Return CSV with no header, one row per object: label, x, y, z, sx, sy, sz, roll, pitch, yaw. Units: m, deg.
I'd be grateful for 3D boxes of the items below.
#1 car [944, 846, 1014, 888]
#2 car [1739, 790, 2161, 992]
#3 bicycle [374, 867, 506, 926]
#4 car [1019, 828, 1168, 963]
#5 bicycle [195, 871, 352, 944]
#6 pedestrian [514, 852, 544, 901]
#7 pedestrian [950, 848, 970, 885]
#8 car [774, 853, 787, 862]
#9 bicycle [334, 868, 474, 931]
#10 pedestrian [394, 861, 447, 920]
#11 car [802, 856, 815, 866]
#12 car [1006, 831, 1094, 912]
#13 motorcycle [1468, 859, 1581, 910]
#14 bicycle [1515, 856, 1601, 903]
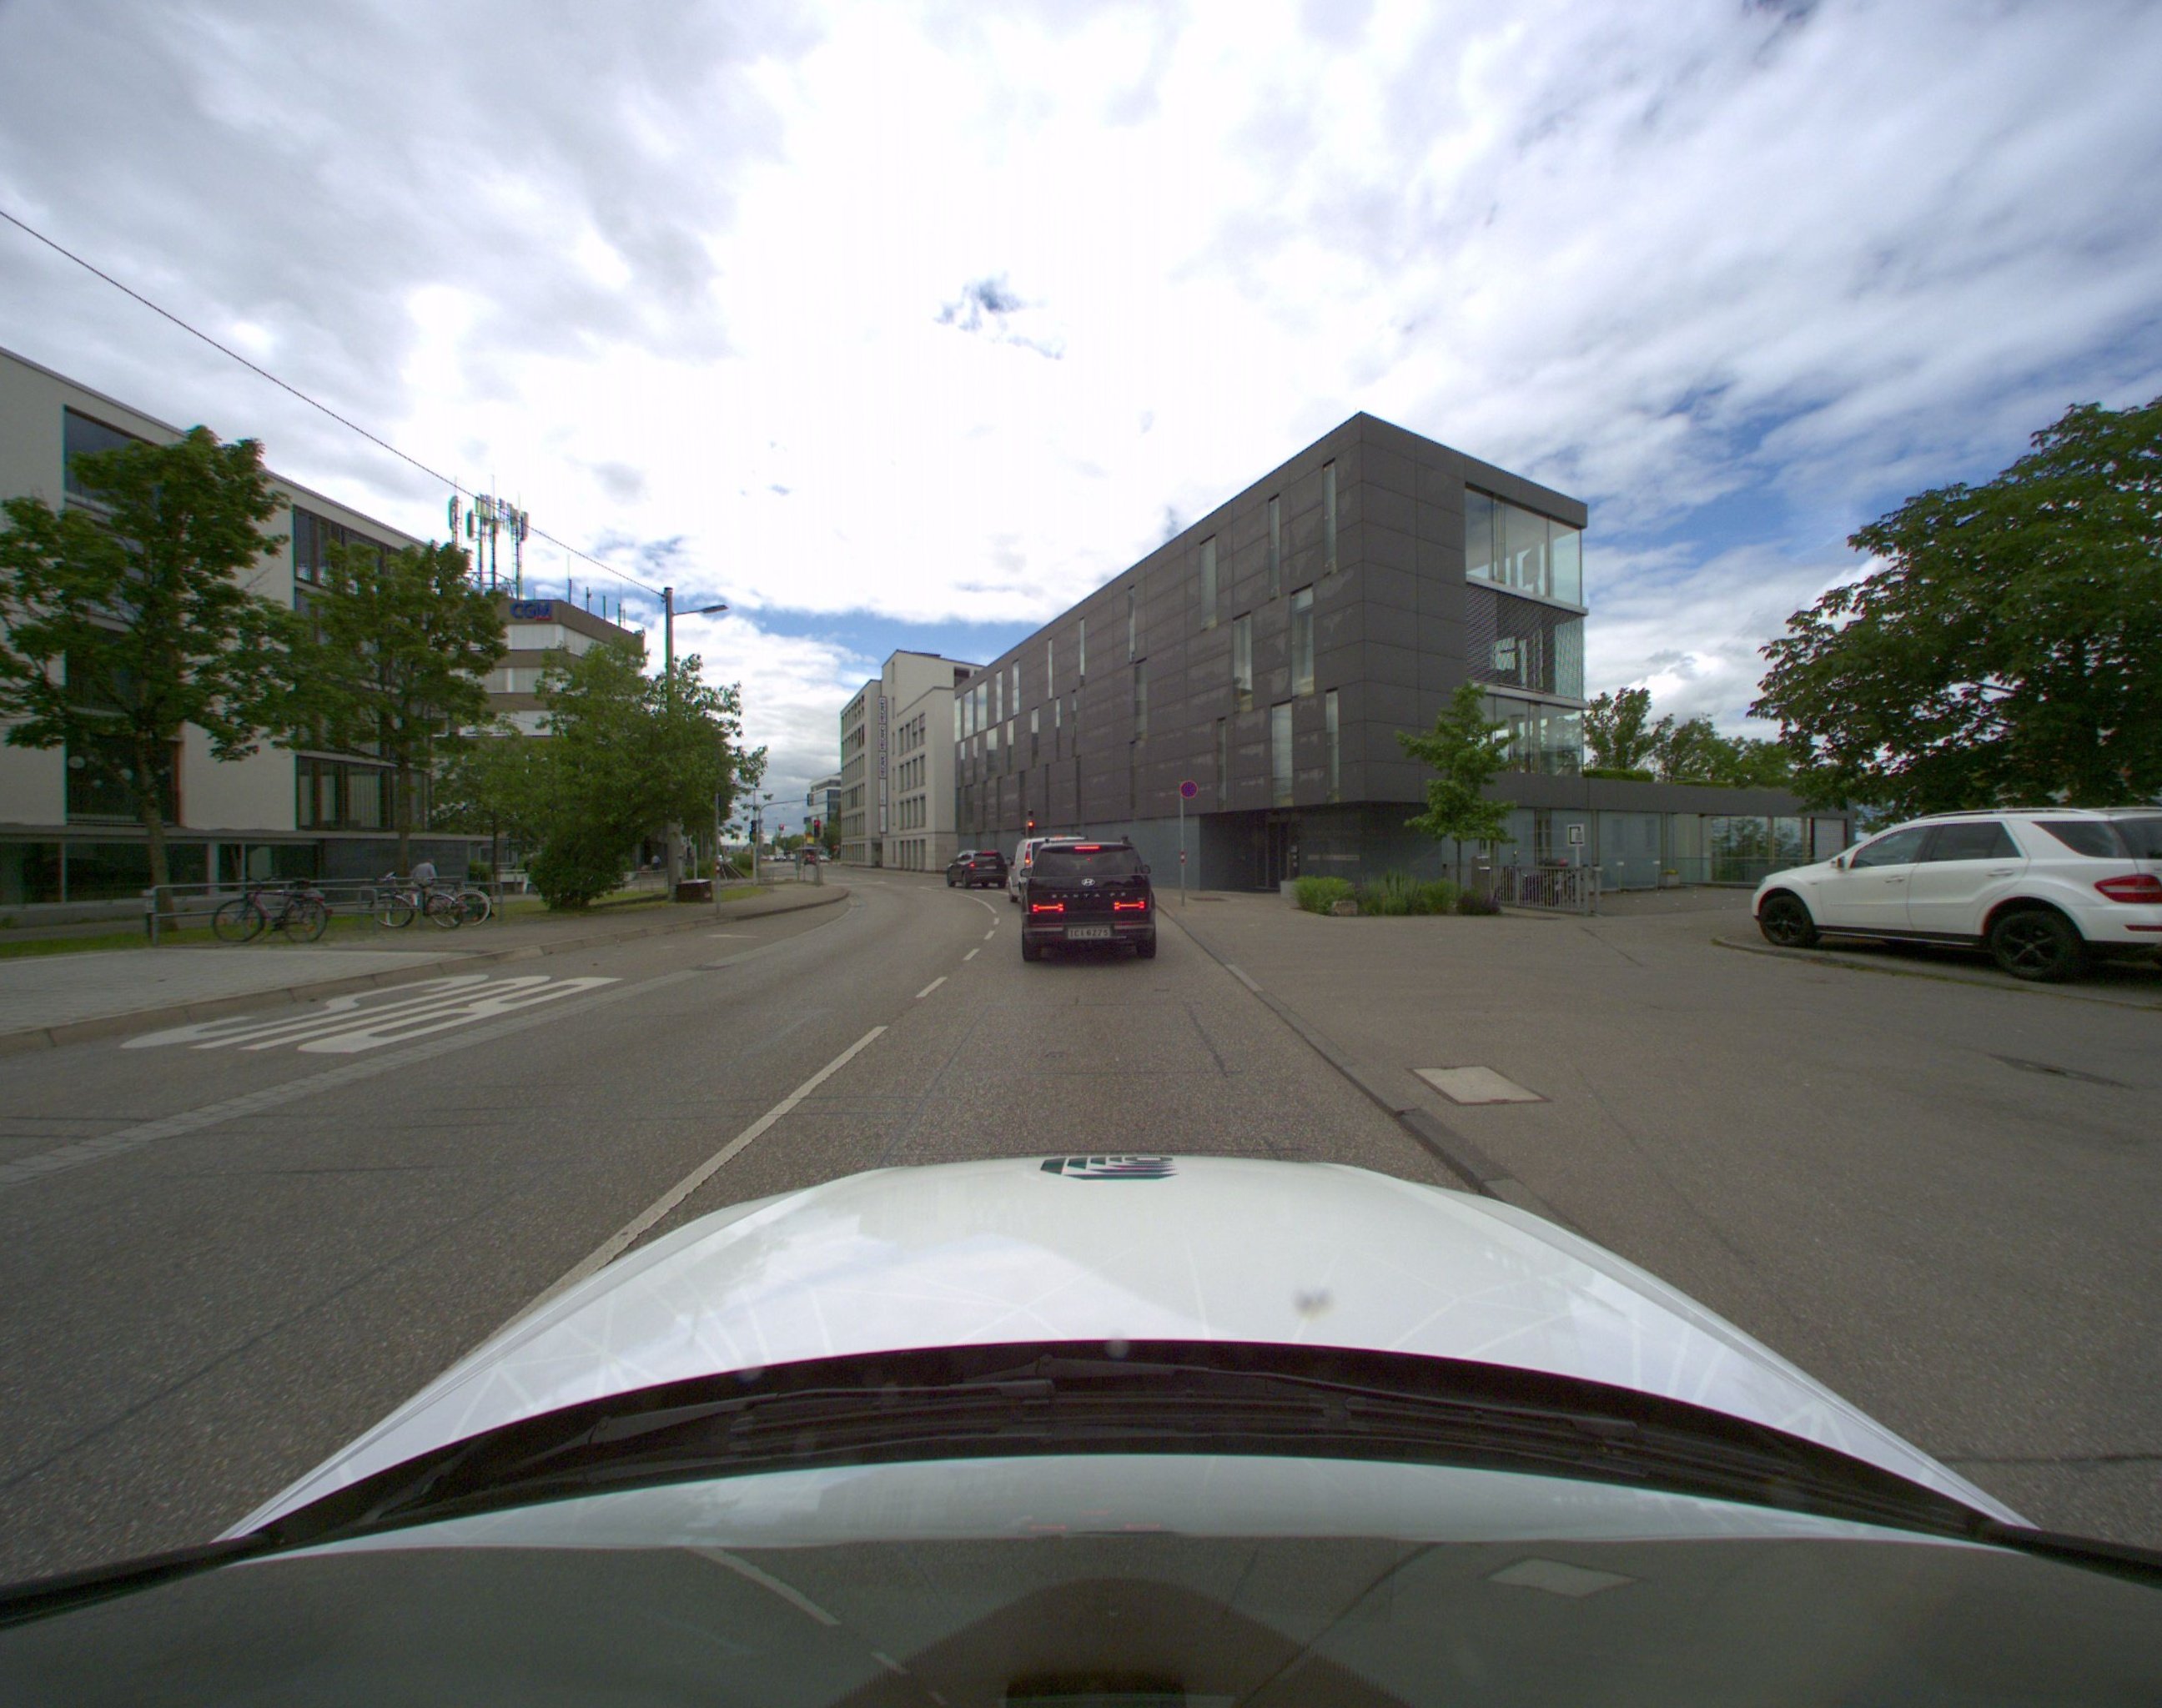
car,-4.567,0.583,35.872,1.856,1.677,4.340,-2,0,-23
car,10.668,0.329,9.695,1.987,1.838,4.517,-2,-1,0
bicycle,-12.497,0.822,15.912,2.091,1.106,0.632,0,0,1
car,0.096,0.541,12.693,1.910,1.725,4.167,1,0,-2
bicycle,-12.824,0.844,12.964,1.921,1.106,0.587,0,0,1
pedestrian,-23.271,0.925,34.351,0.769,2.014,0.885,2,-1,-18
pedestrian,-6.050,0.617,40.801,0.939,1.800,0.589,-1,0,-11
car,-58.284,0.760,157.769,1.862,1.695,3.964,-1,0,-27
bicycle,-12.600,0.838,15.184,2.091,1.106,0.632,0,0,1
pedestrian,-20.601,1.129,25.421,0.827,1.765,0.907,2,-1,1
car,-43.016,1.067,128.620,1.904,1.486,3.977,-1,0,-17
car,-0.975,0.435,23.029,1.856,2.033,4.421,-1,0,-10
motorcycle,11.793,0.767,21.776,0.850,1.260,2.672,-1,0,-25
bicycle,13.358,0.681,22.893,0.617,1.260,2.085,-1,0,-25
